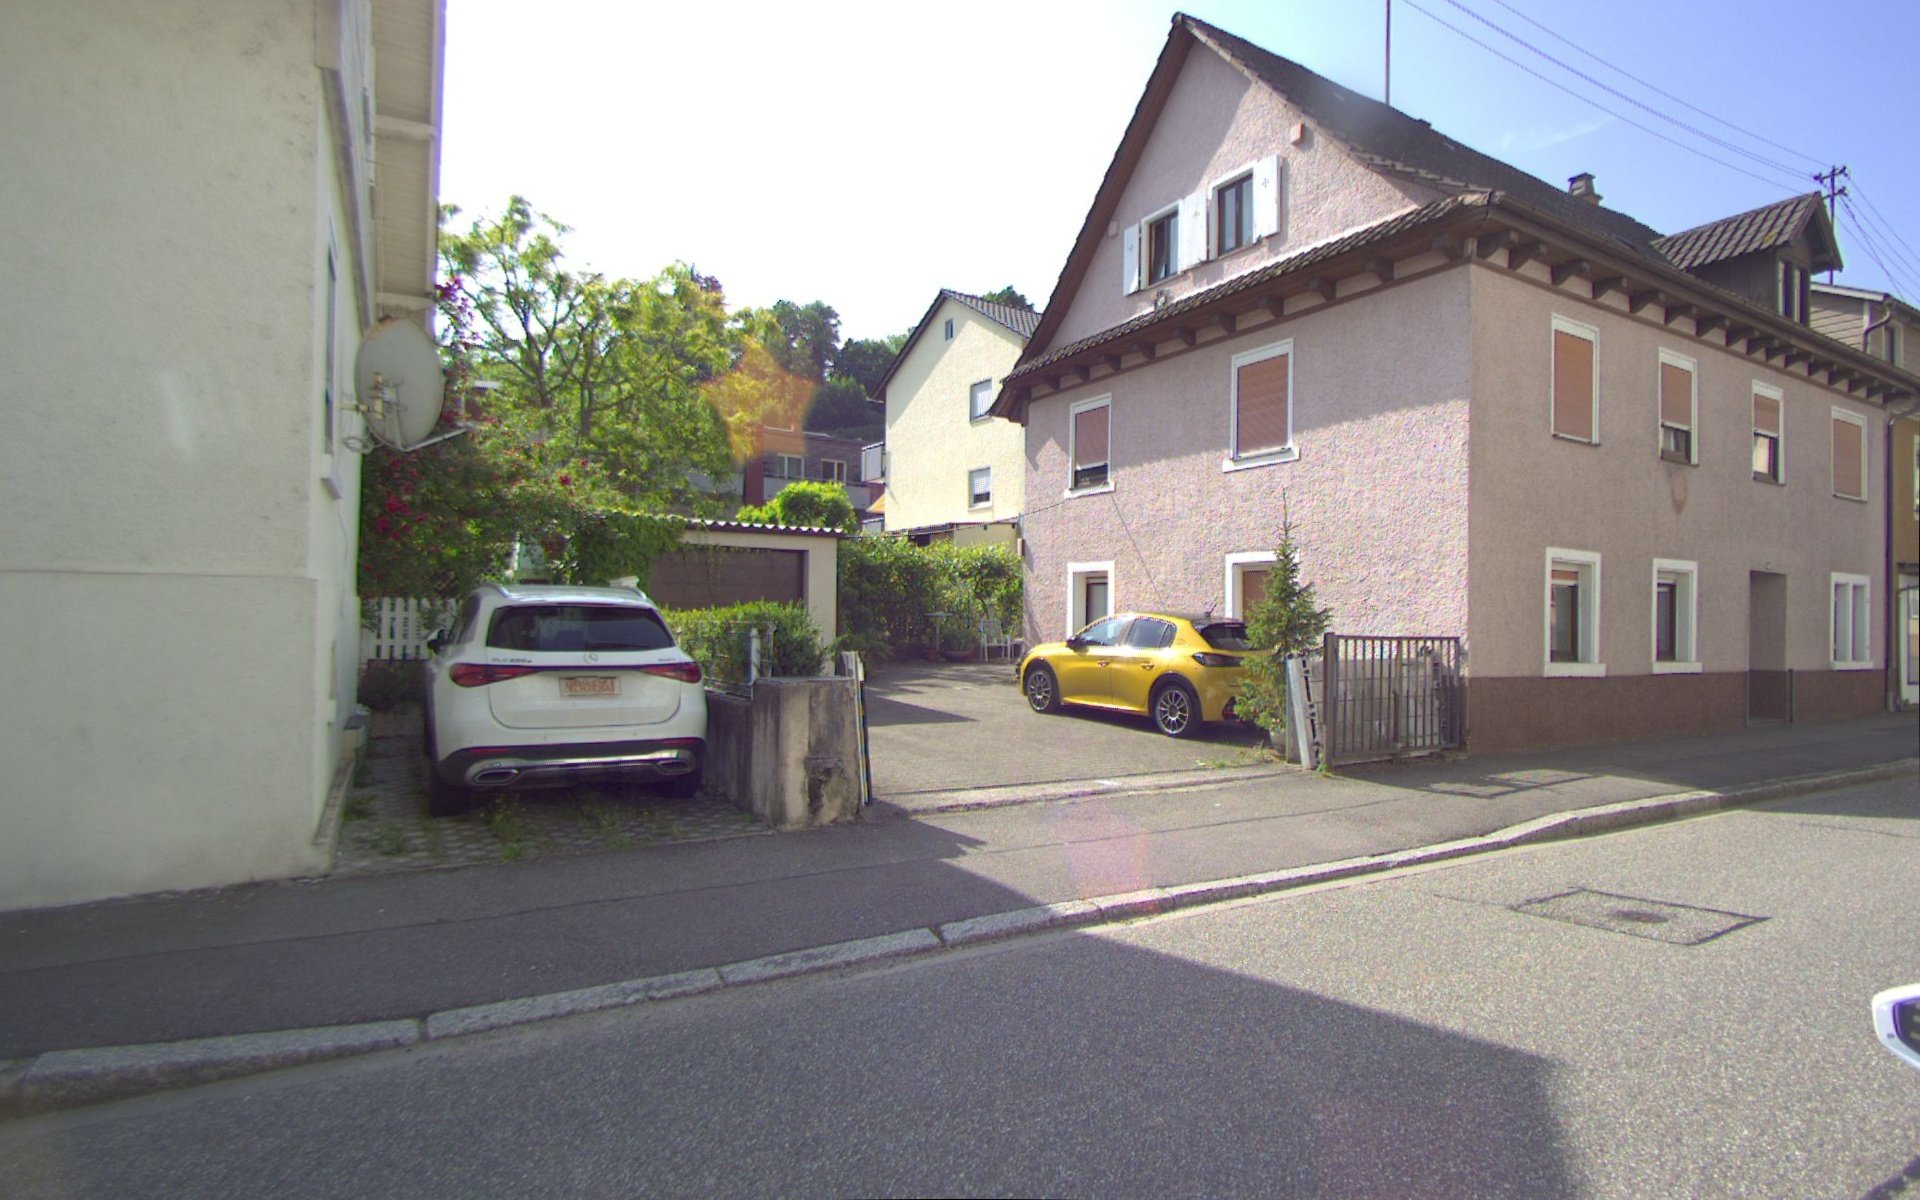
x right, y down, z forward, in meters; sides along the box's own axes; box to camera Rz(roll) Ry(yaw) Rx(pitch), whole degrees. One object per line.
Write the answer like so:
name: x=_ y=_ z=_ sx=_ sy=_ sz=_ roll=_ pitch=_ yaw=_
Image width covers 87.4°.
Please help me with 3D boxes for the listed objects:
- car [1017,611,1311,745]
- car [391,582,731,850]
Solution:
car: x=2.509 y=0.892 z=13.139 sx=1.628 sy=1.411 sz=3.728 roll=1 pitch=0 yaw=-33
car: x=-3.478 y=0.707 z=8.258 sx=1.887 sy=1.615 sz=3.964 roll=1 pitch=0 yaw=-32
